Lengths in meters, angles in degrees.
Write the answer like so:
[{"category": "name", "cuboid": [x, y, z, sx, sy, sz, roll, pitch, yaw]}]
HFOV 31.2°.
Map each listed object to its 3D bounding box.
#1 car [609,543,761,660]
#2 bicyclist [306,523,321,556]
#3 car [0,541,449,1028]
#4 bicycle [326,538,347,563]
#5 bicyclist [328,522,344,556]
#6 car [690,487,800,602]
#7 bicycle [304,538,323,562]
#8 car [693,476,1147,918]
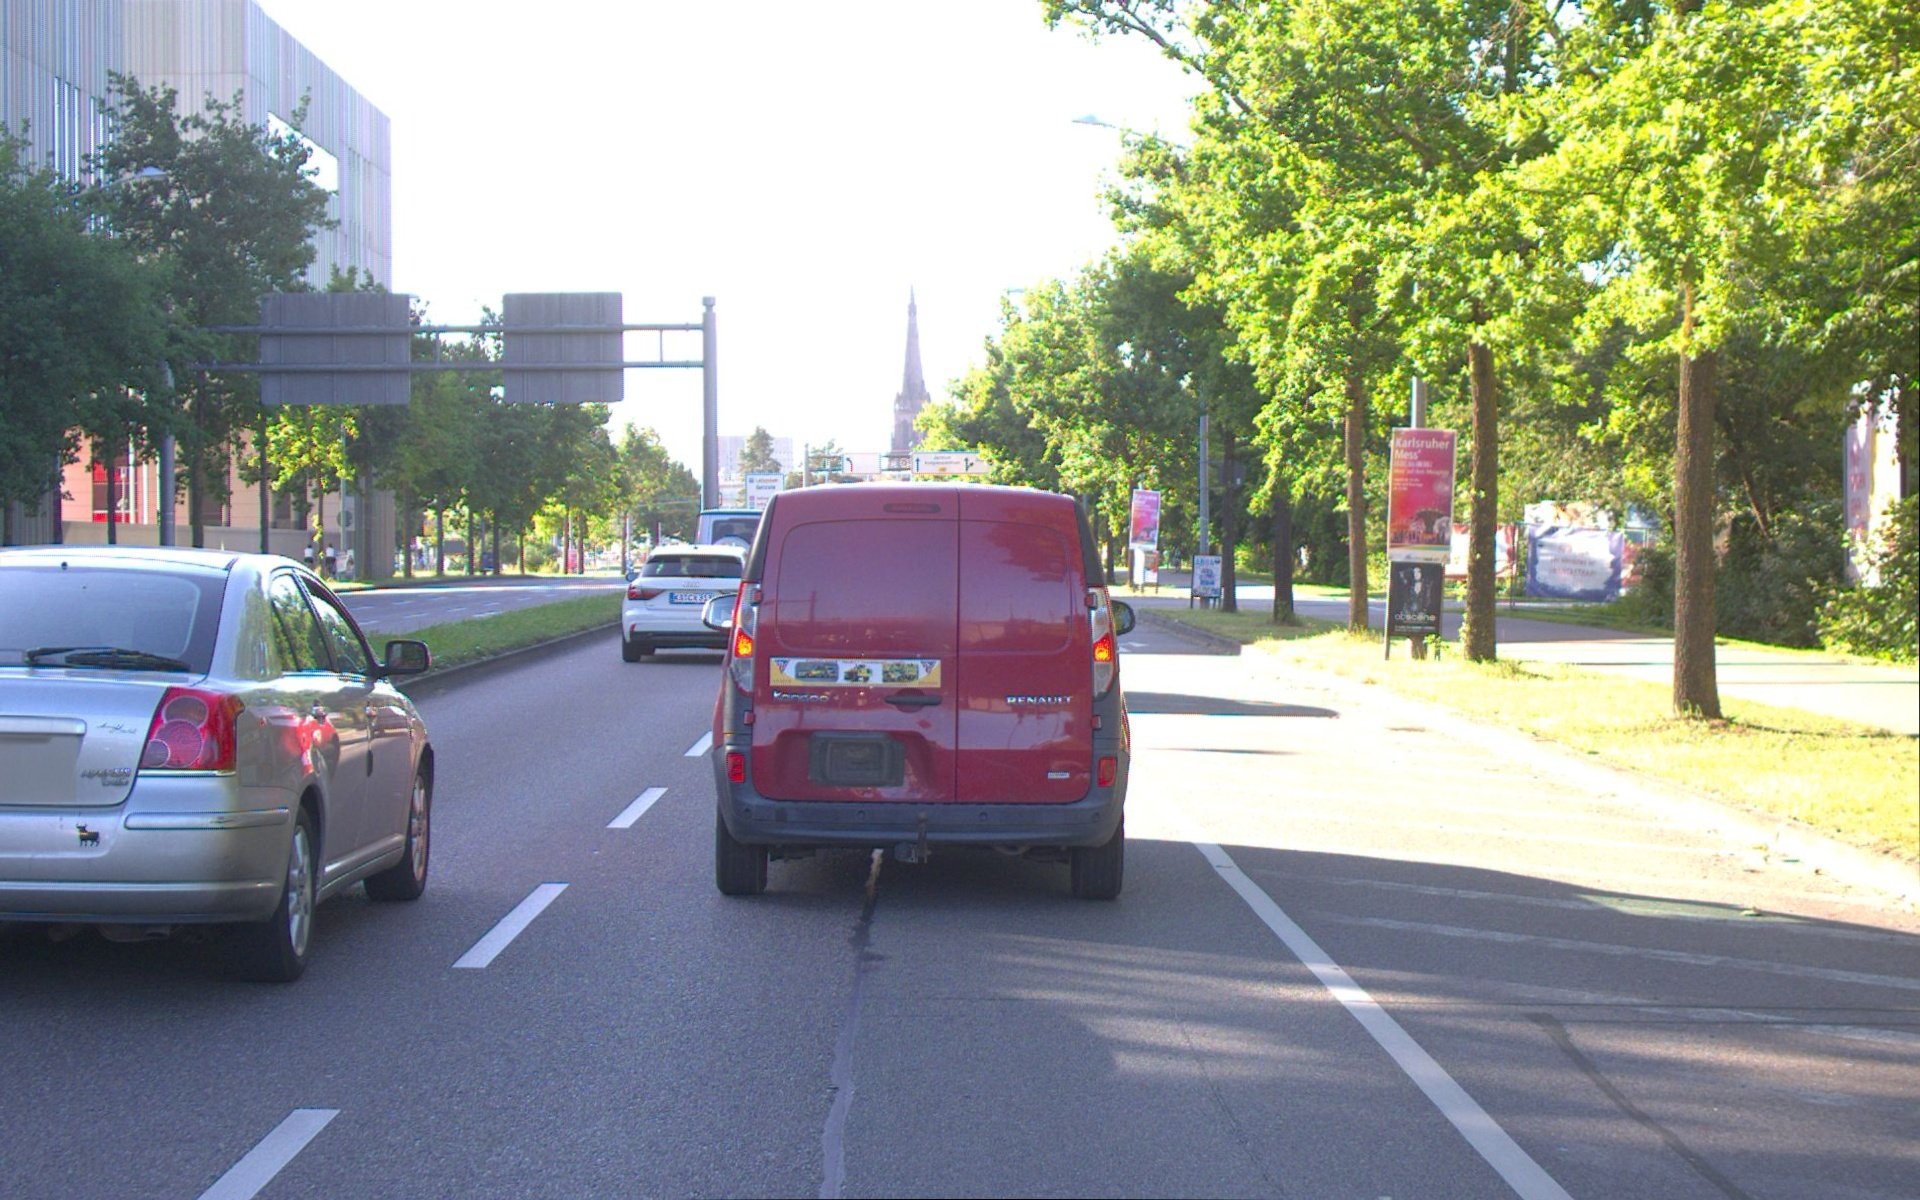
[{"category": "car", "cuboid": [-3.364, -0.009, 42.599, 1.661, 1.393, 3.559, 0, 1, -1]}, {"category": "bicyclist", "cuboid": [-27.051, -2.535, 143.896, 0.482, 1.390, 0.844, 0, 0, -2]}, {"category": "car", "cuboid": [-3.095, 0.528, 12.551, 1.841, 1.451, 4.162, 1, 1, 0]}, {"category": "bicycle", "cuboid": [-26.114, -2.077, 143.987, 0.570, 1.000, 2.096, 0, 0, -2]}, {"category": "bicyclist", "cuboid": [-26.114, -2.552, 143.850, 0.562, 1.387, 0.747, 0, 0, -2]}, {"category": "car", "cuboid": [-3.532, -0.922, 57.039, 1.661, 1.850, 3.559, 0, 1, -1]}, {"category": "bicycle", "cuboid": [-27.048, -2.086, 143.856, 0.487, 1.000, 2.096, 0, 0, -2]}, {"category": "car", "cuboid": [-0.200, 0.366, 15.957, 1.806, 1.753, 4.006, 1, 1, -1]}]
